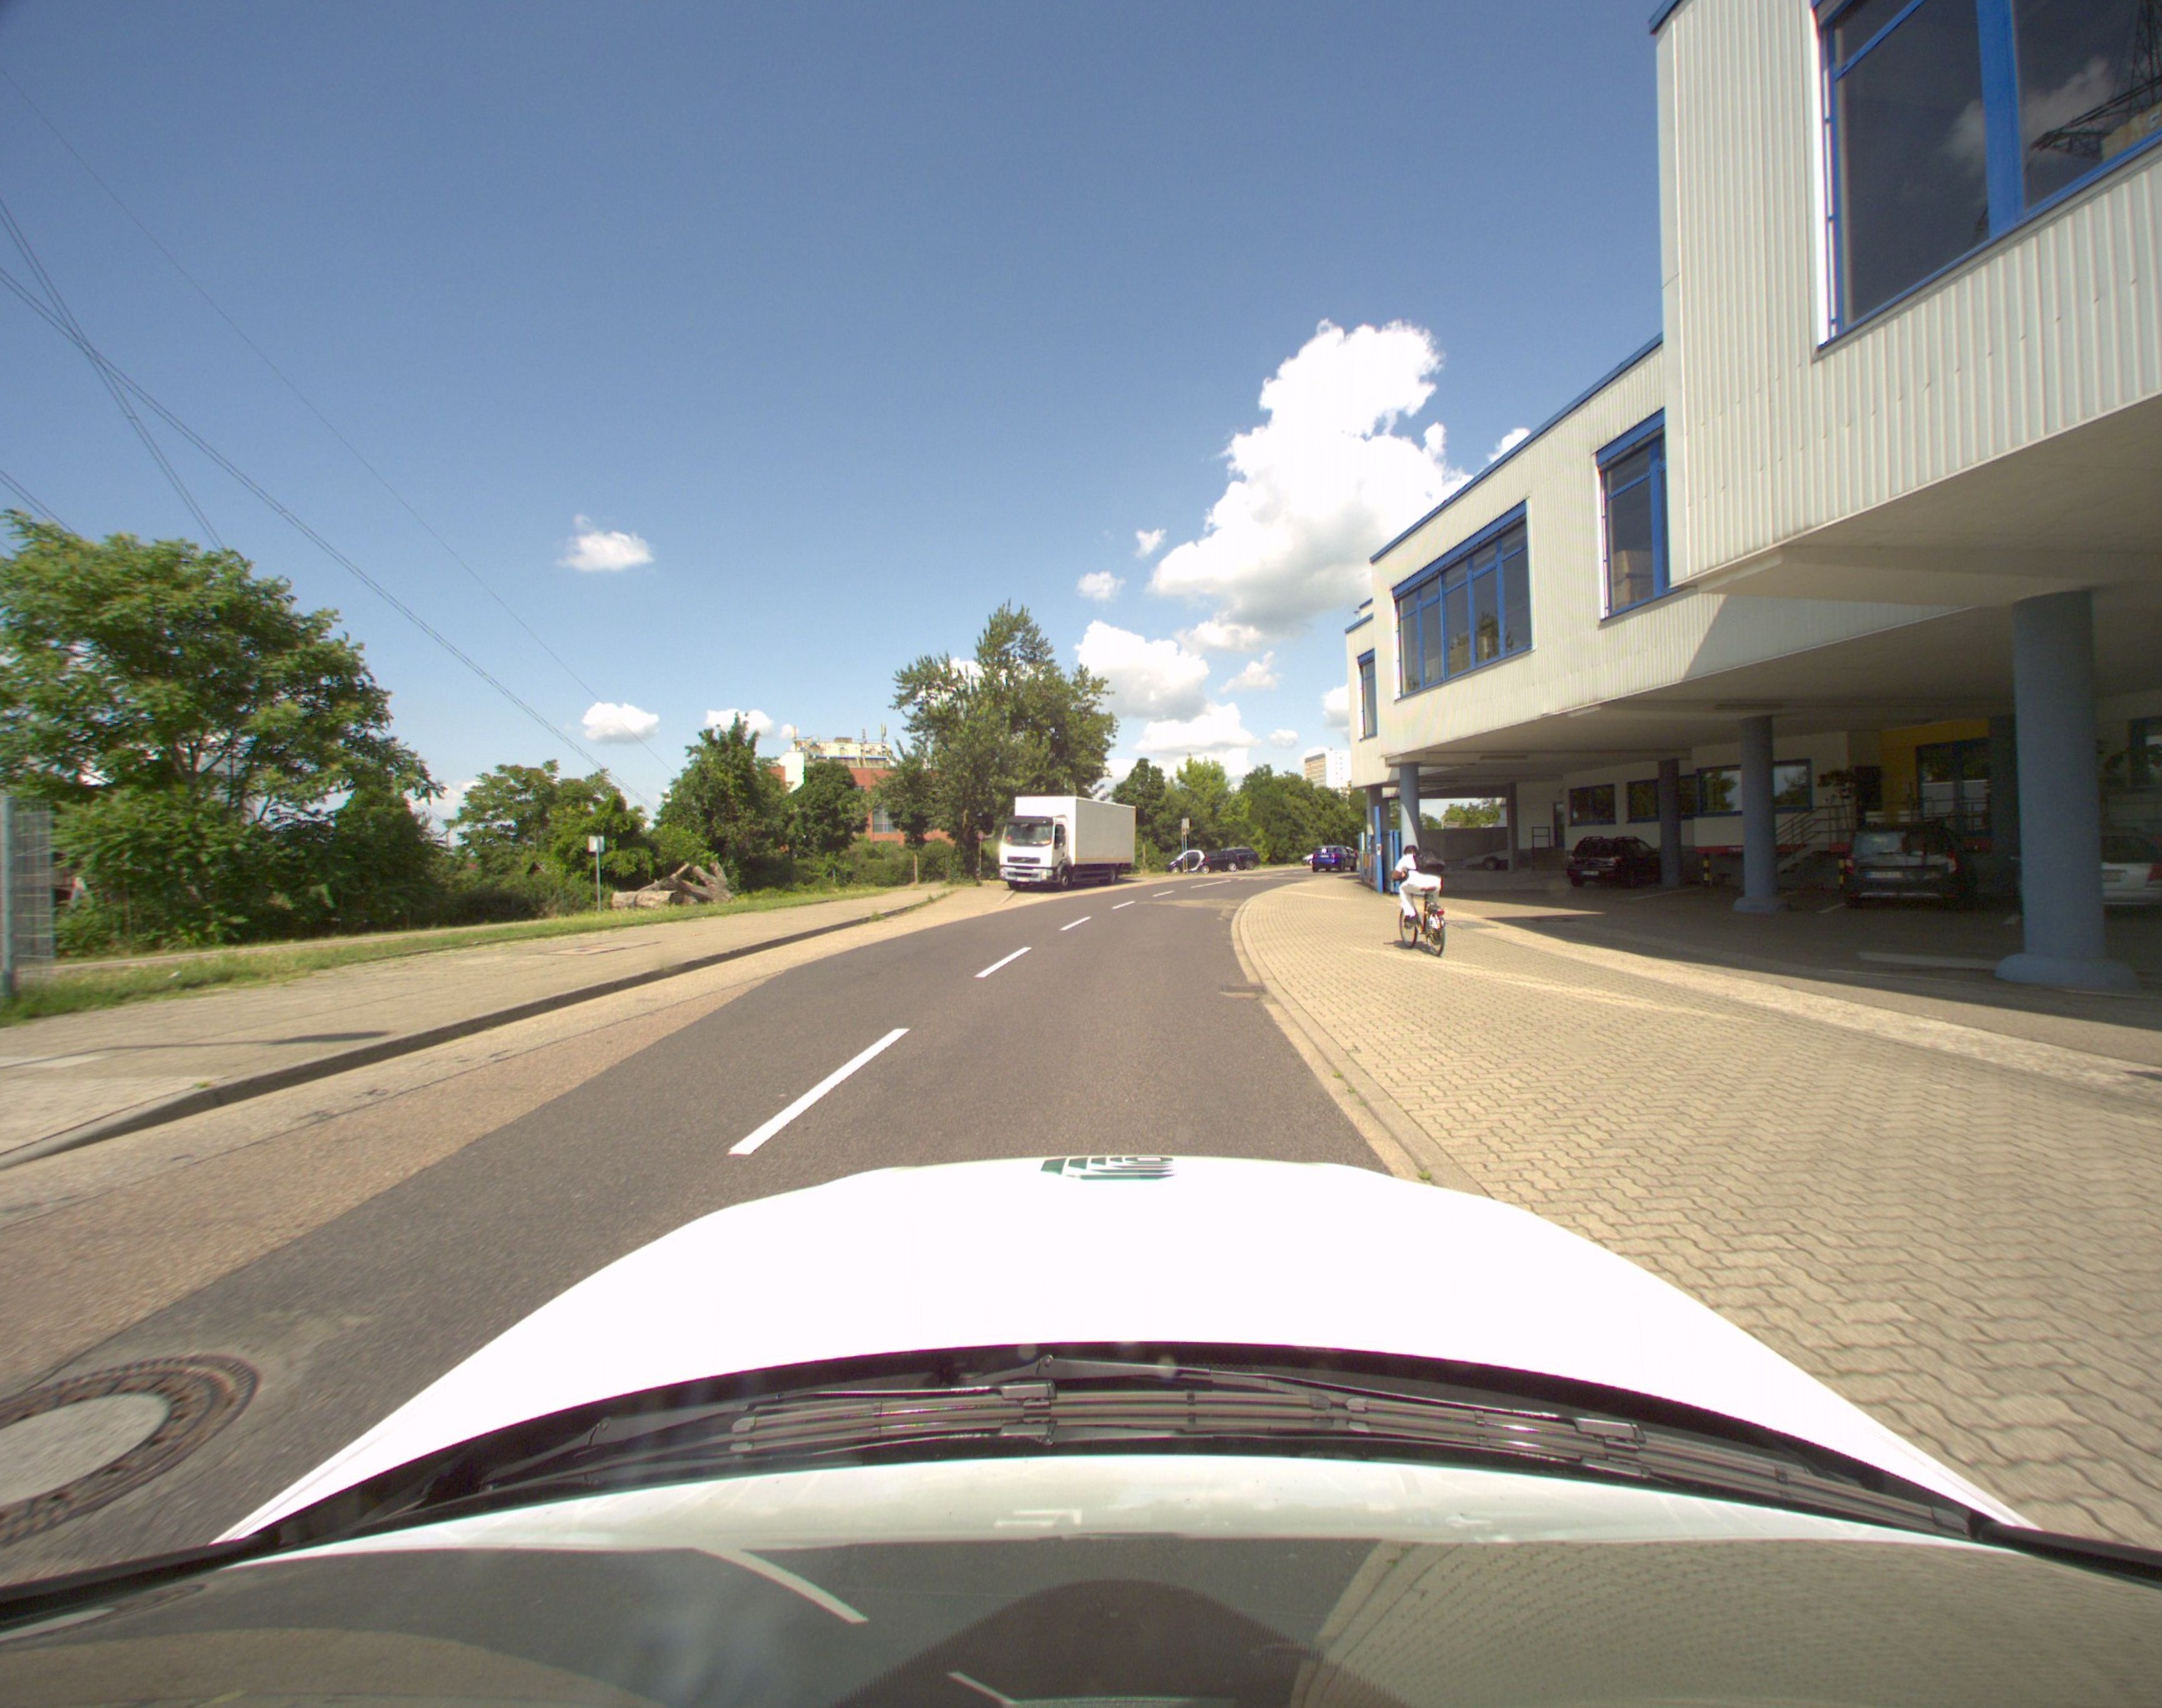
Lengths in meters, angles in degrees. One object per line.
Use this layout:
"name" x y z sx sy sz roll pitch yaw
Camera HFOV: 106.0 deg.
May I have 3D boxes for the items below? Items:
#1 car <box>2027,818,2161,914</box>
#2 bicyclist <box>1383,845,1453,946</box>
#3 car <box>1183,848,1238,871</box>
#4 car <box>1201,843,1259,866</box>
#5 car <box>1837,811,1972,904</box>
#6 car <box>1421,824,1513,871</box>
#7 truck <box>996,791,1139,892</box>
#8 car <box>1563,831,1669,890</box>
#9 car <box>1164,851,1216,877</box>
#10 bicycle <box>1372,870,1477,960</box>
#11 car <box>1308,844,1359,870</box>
"car" 18.576 0.234 14.777 3.681 1.546 1.821 2 -1 -40
"bicyclist" 4.856 0.578 11.788 0.660 1.397 0.859 -2 0 4
"car" 8.710 0.352 54.872 3.326 1.475 1.697 -2 0 -13
"car" 10.602 0.031 58.222 3.630 1.570 1.882 -1 -1 -12
"car" 17.760 0.034 17.501 4.126 1.781 1.739 -1 1 -40
"car" 17.493 -0.282 37.073 3.680 2.014 2.011 1 -1 23
"truck" -0.212 -0.541 33.504 2.301 3.567 9.419 0 1 23
"car" 17.686 0.160 26.862 3.679 1.658 1.653 -4 3 -35
"car" 6.913 0.609 51.842 2.892 1.570 1.887 -1 -1 -4
"bicycle" 4.828 0.807 11.612 0.663 1.109 2.169 -2 0 3
"car" 15.937 0.182 51.256 1.891 1.593 4.731 -1 -1 32
